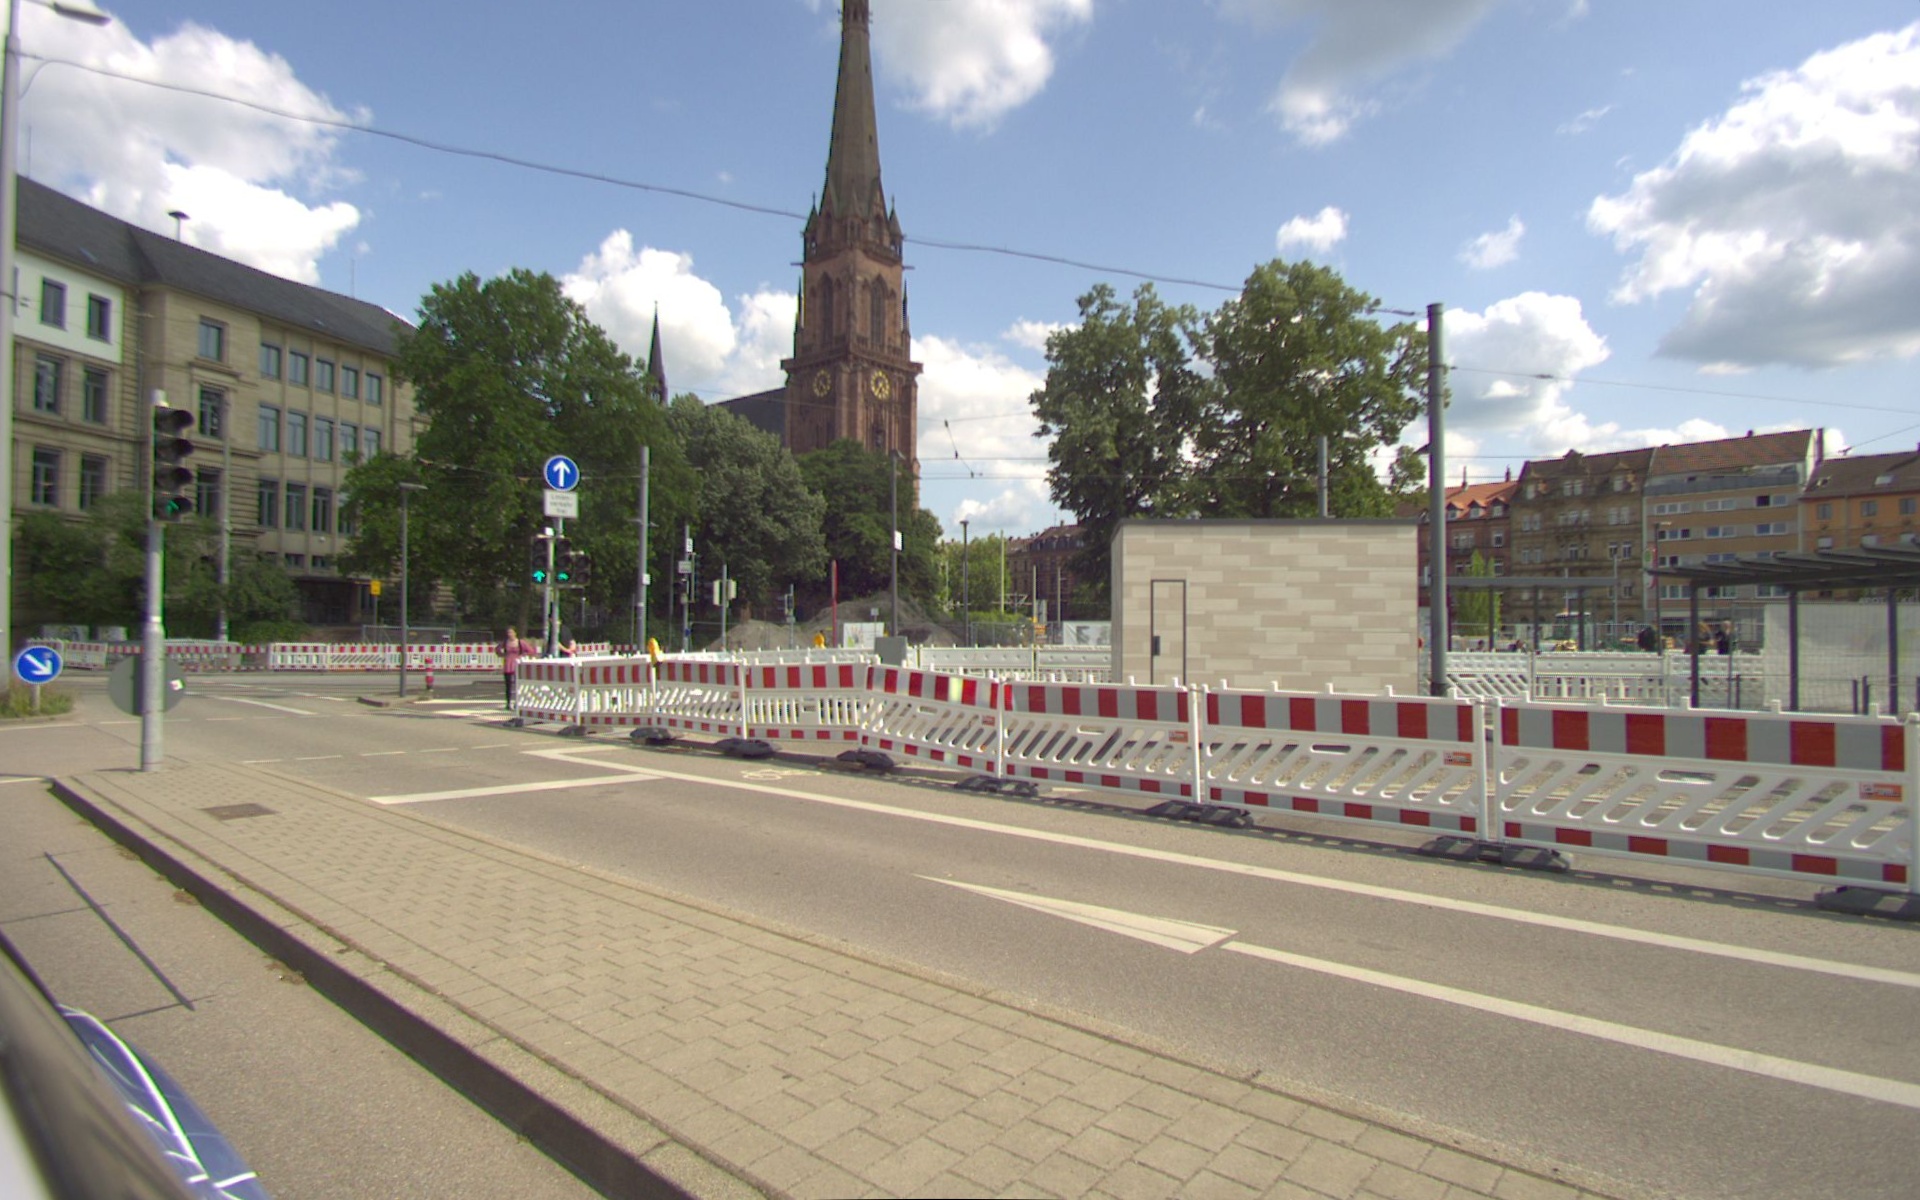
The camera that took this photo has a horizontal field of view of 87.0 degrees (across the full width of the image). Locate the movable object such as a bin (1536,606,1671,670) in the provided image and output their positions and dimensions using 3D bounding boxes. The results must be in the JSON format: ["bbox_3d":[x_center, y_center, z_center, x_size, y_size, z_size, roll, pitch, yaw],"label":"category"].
[{"bbox_3d":[26.804,1.579,42.315,3.954,2.594,2.643,0,-2,9],"label":"movable object such as a bin"}]

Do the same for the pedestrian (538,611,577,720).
[{"bbox_3d":[-7.199,1.156,18.118,0.602,1.899,0.796,1,-3,-20],"label":"pedestrian"}]

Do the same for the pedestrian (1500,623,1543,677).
[{"bbox_3d":[15.333,1.343,27.666,0.722,1.442,0.941,0,-1,8],"label":"pedestrian"}]

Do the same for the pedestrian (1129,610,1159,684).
[{"bbox_3d":[5.168,1.306,28.473,0.790,2.029,0.815,0,-1,8],"label":"pedestrian"}]

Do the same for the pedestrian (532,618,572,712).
[{"bbox_3d":[-7.700,1.216,19.089,0.620,1.749,0.405,-2,-3,35],"label":"pedestrian"}]

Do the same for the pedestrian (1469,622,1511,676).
[{"bbox_3d":[14.537,1.337,27.768,0.722,1.442,0.941,0,-1,8],"label":"pedestrian"}]

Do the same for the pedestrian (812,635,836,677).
[{"bbox_3d":[-5.493,2.251,40.870,0.784,1.665,0.576,-1,-3,22],"label":"pedestrian"}]

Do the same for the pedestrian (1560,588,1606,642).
[{"bbox_3d":[16.979,0.416,27.592,0.722,1.442,0.941,0,-1,8],"label":"pedestrian"}]

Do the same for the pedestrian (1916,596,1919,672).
[{"bbox_3d":[26.125,0.918,26.795,0.718,2.029,0.947,1,-1,-19],"label":"pedestrian"}]

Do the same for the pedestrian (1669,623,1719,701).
[{"bbox_3d":[19.765,1.650,27.269,0.722,2.029,0.941,0,-1,8],"label":"pedestrian"}]

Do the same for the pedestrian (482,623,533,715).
[{"bbox_3d":[-8.689,1.307,19.438,0.620,1.720,0.607,-1,-3,28],"label":"pedestrian"}]

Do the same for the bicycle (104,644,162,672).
[{"bbox_3d":[-37.056,2.591,45.380,0.721,1.177,2.118,0,-1,4],"label":"bicycle"}]
